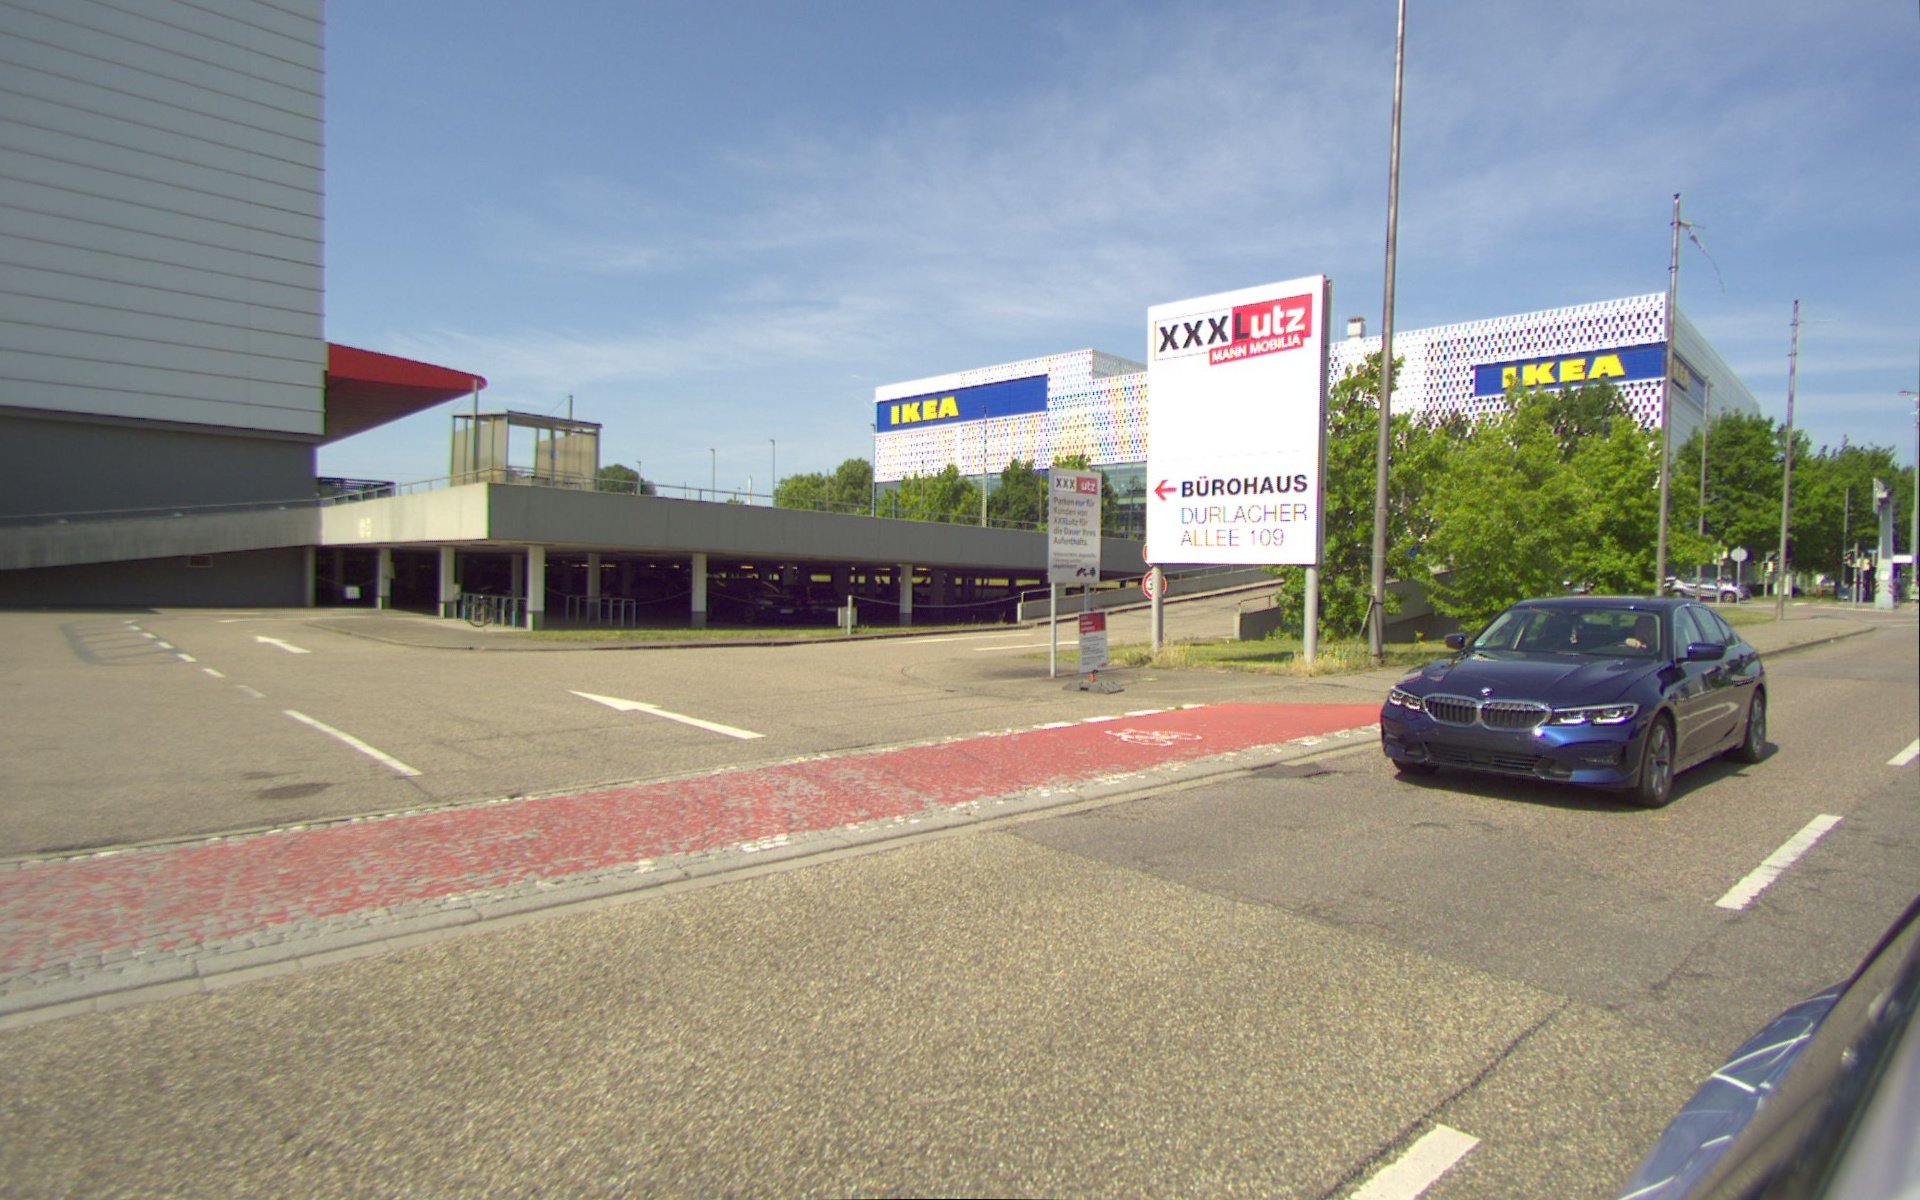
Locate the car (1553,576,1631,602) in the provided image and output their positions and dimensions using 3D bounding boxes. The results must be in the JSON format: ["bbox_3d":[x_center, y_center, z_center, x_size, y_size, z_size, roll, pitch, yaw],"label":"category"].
[{"bbox_3d":[41.723,-0.758,66.853,1.876,1.527,4.034,-2,3,-42],"label":"car"}]

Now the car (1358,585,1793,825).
[{"bbox_3d":[5.228,0.627,8.315,4.459,1.447,1.798,0,1,-41],"label":"car"}]

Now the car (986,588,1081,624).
[{"bbox_3d":[3.292,0.252,45.739,4.107,1.542,1.773,0,0,41],"label":"car"}]

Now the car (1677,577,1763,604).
[{"bbox_3d":[46.092,-0.591,61.437,1.777,1.578,3.892,0,2,-41],"label":"car"}]

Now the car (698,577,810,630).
[{"bbox_3d":[-6.936,0.092,33.889,1.723,1.647,4.153,0,0,-44],"label":"car"}]

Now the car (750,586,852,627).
[{"bbox_3d":[-5.717,0.215,36.168,1.661,1.405,3.874,0,0,-45],"label":"car"}]

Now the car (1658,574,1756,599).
[{"bbox_3d":[47.455,-0.872,64.381,1.926,1.443,4.724,-2,3,-42],"label":"car"}]

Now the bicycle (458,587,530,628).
[{"bbox_3d":[-12.591,0.212,27.386,1.679,1.073,0.512,1,0,-42],"label":"bicycle"}]
